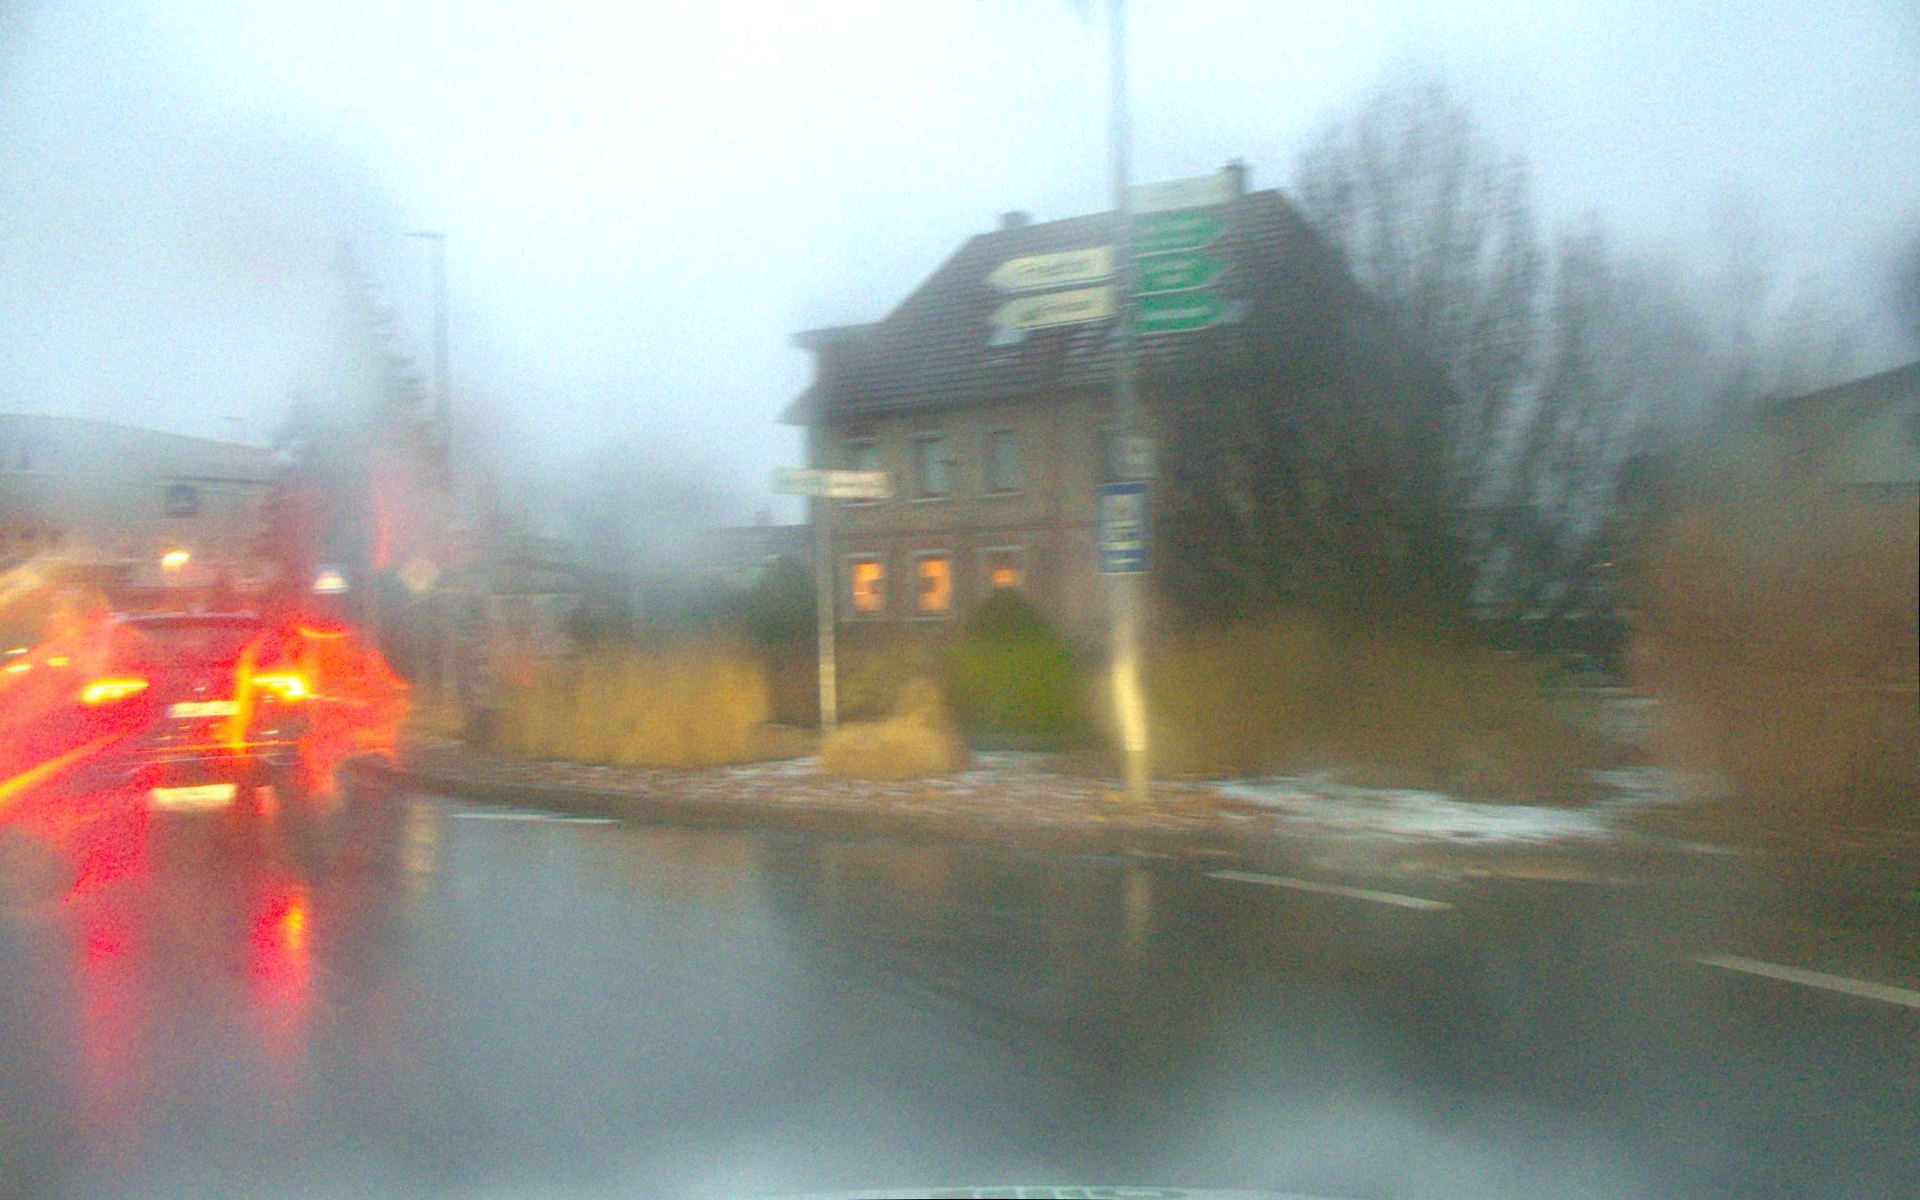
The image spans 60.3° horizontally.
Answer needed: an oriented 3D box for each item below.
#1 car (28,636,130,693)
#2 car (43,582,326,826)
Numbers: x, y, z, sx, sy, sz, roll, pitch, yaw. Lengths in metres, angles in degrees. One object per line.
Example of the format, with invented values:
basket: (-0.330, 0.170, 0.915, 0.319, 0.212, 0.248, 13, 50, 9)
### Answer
car: (-27.534, 2.028, 51.615, 1.871, 1.575, 4.504, -2, -2, -40)
car: (-6.829, 0.777, 14.380, 1.923, 1.748, 3.962, -2, 0, -29)
